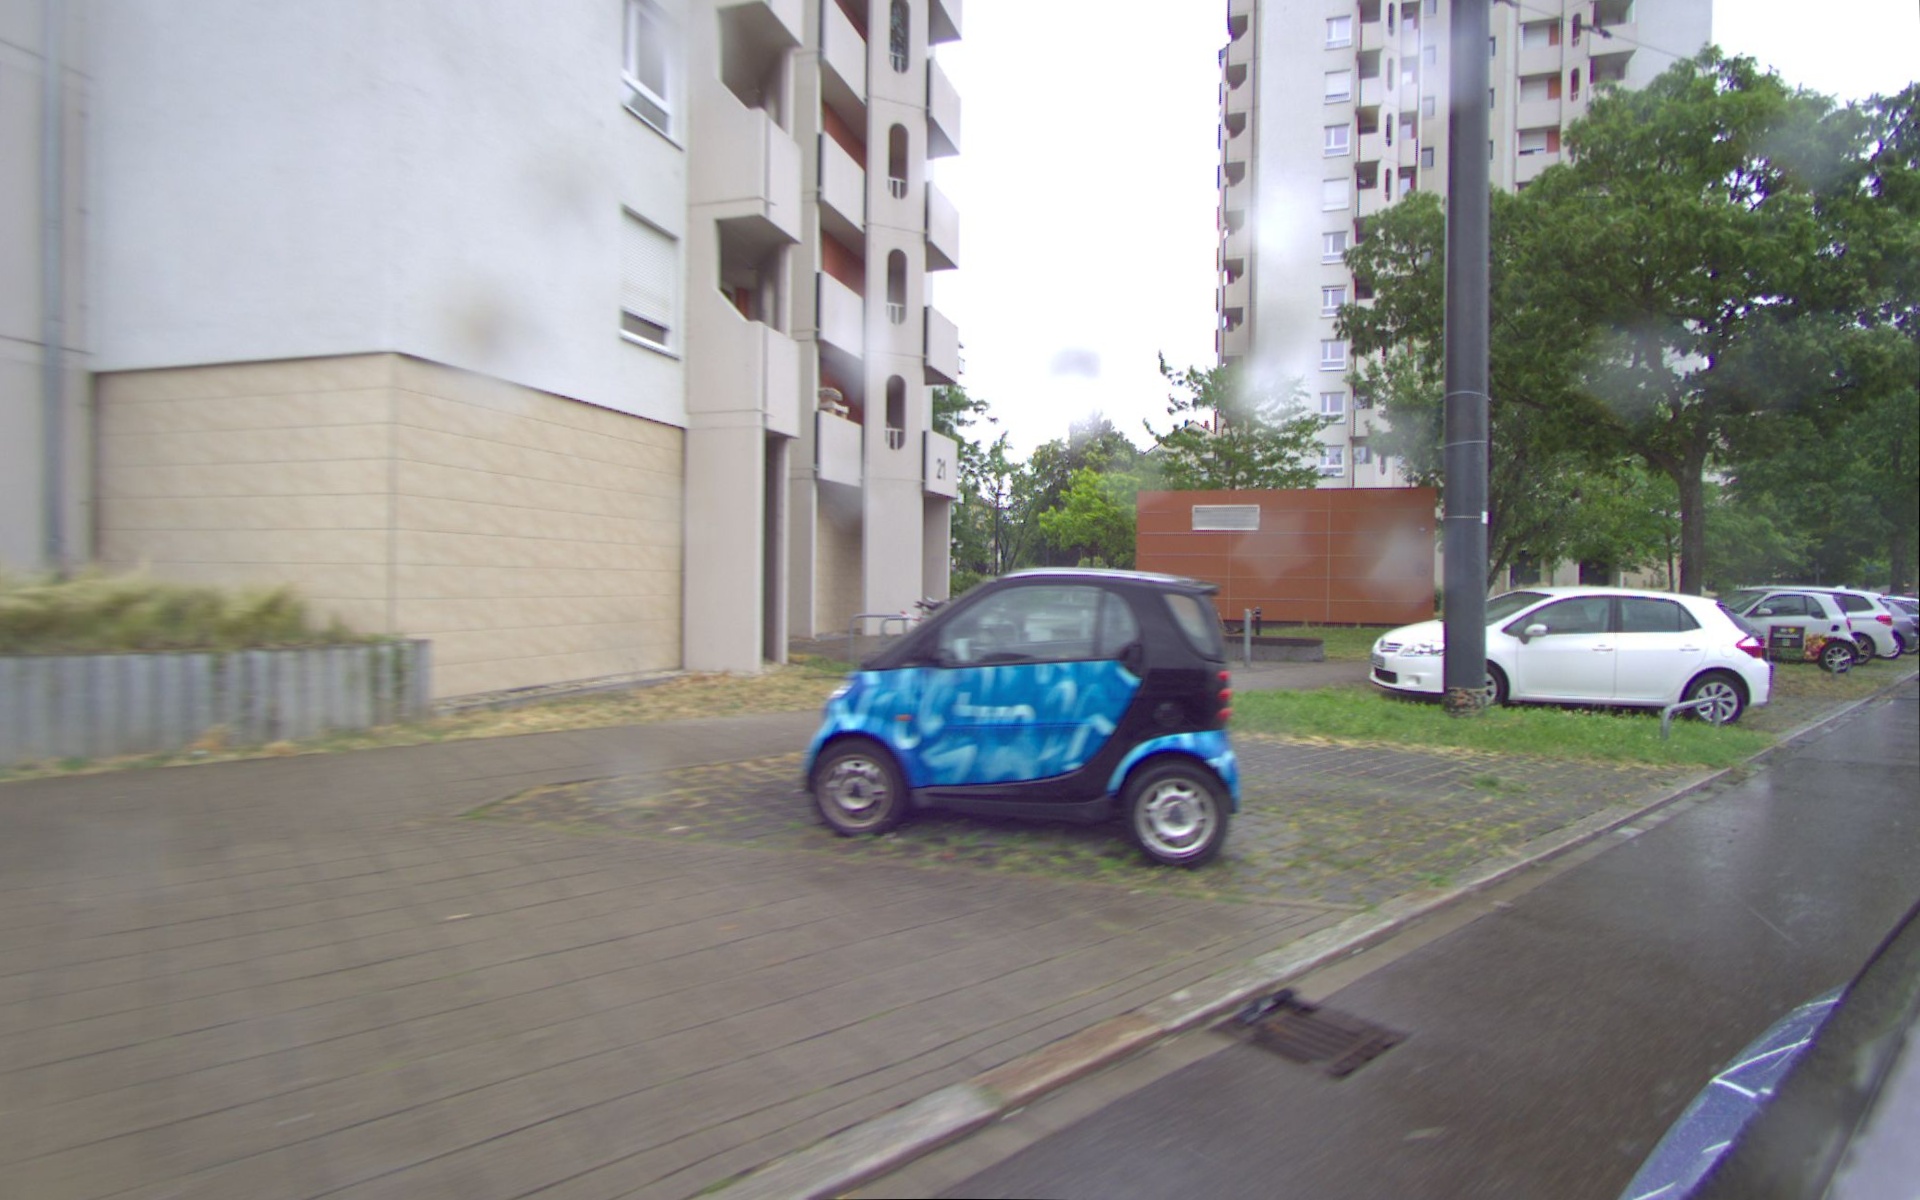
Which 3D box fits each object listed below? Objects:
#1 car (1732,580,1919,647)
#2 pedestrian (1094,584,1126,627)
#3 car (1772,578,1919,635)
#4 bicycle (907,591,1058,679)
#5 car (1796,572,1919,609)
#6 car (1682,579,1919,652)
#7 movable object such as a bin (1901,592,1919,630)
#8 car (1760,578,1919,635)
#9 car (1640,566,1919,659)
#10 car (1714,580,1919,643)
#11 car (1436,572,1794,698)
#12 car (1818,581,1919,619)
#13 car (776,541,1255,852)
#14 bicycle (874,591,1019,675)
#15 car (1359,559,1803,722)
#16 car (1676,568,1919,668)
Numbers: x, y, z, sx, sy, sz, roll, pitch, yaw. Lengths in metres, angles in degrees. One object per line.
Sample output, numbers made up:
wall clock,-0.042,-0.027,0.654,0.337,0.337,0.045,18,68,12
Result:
car,22.928,0.341,26.071,4.398,1.445,1.677,4,2,16
pedestrian,7.252,0.238,48.859,1.262,2.039,1.303,-1,1,21
car,29.221,0.214,32.537,4.402,1.560,1.676,4,4,18
bicycle,0.319,0.414,13.002,2.022,1.018,0.662,-2,1,-41
car,42.468,-0.488,47.953,3.986,1.706,1.718,0,1,13
car,20.210,0.337,24.167,4.397,1.427,1.761,4,2,15
movable object such as a bin,34.554,0.390,36.080,0.981,1.329,1.183,-1,1,11
car,27.098,0.198,30.375,4.397,1.483,1.812,4,2,15
car,17.766,0.217,22.089,4.389,1.692,1.808,3,2,10
car,24.437,0.294,28.749,4.391,1.445,1.804,3,2,11
car,9.209,0.431,14.584,3.885,1.449,1.679,4,2,12
car,40.750,0.020,44.626,3.987,1.507,1.718,3,2,13
car,0.360,0.455,6.126,2.523,1.567,1.599,1,2,9
bicycle,-0.153,0.408,13.687,2.022,1.018,0.662,-2,1,-41
car,7.267,0.400,12.282,4.118,1.567,1.761,3,2,10
car,16.857,0.325,19.875,4.122,1.692,1.679,4,2,13
